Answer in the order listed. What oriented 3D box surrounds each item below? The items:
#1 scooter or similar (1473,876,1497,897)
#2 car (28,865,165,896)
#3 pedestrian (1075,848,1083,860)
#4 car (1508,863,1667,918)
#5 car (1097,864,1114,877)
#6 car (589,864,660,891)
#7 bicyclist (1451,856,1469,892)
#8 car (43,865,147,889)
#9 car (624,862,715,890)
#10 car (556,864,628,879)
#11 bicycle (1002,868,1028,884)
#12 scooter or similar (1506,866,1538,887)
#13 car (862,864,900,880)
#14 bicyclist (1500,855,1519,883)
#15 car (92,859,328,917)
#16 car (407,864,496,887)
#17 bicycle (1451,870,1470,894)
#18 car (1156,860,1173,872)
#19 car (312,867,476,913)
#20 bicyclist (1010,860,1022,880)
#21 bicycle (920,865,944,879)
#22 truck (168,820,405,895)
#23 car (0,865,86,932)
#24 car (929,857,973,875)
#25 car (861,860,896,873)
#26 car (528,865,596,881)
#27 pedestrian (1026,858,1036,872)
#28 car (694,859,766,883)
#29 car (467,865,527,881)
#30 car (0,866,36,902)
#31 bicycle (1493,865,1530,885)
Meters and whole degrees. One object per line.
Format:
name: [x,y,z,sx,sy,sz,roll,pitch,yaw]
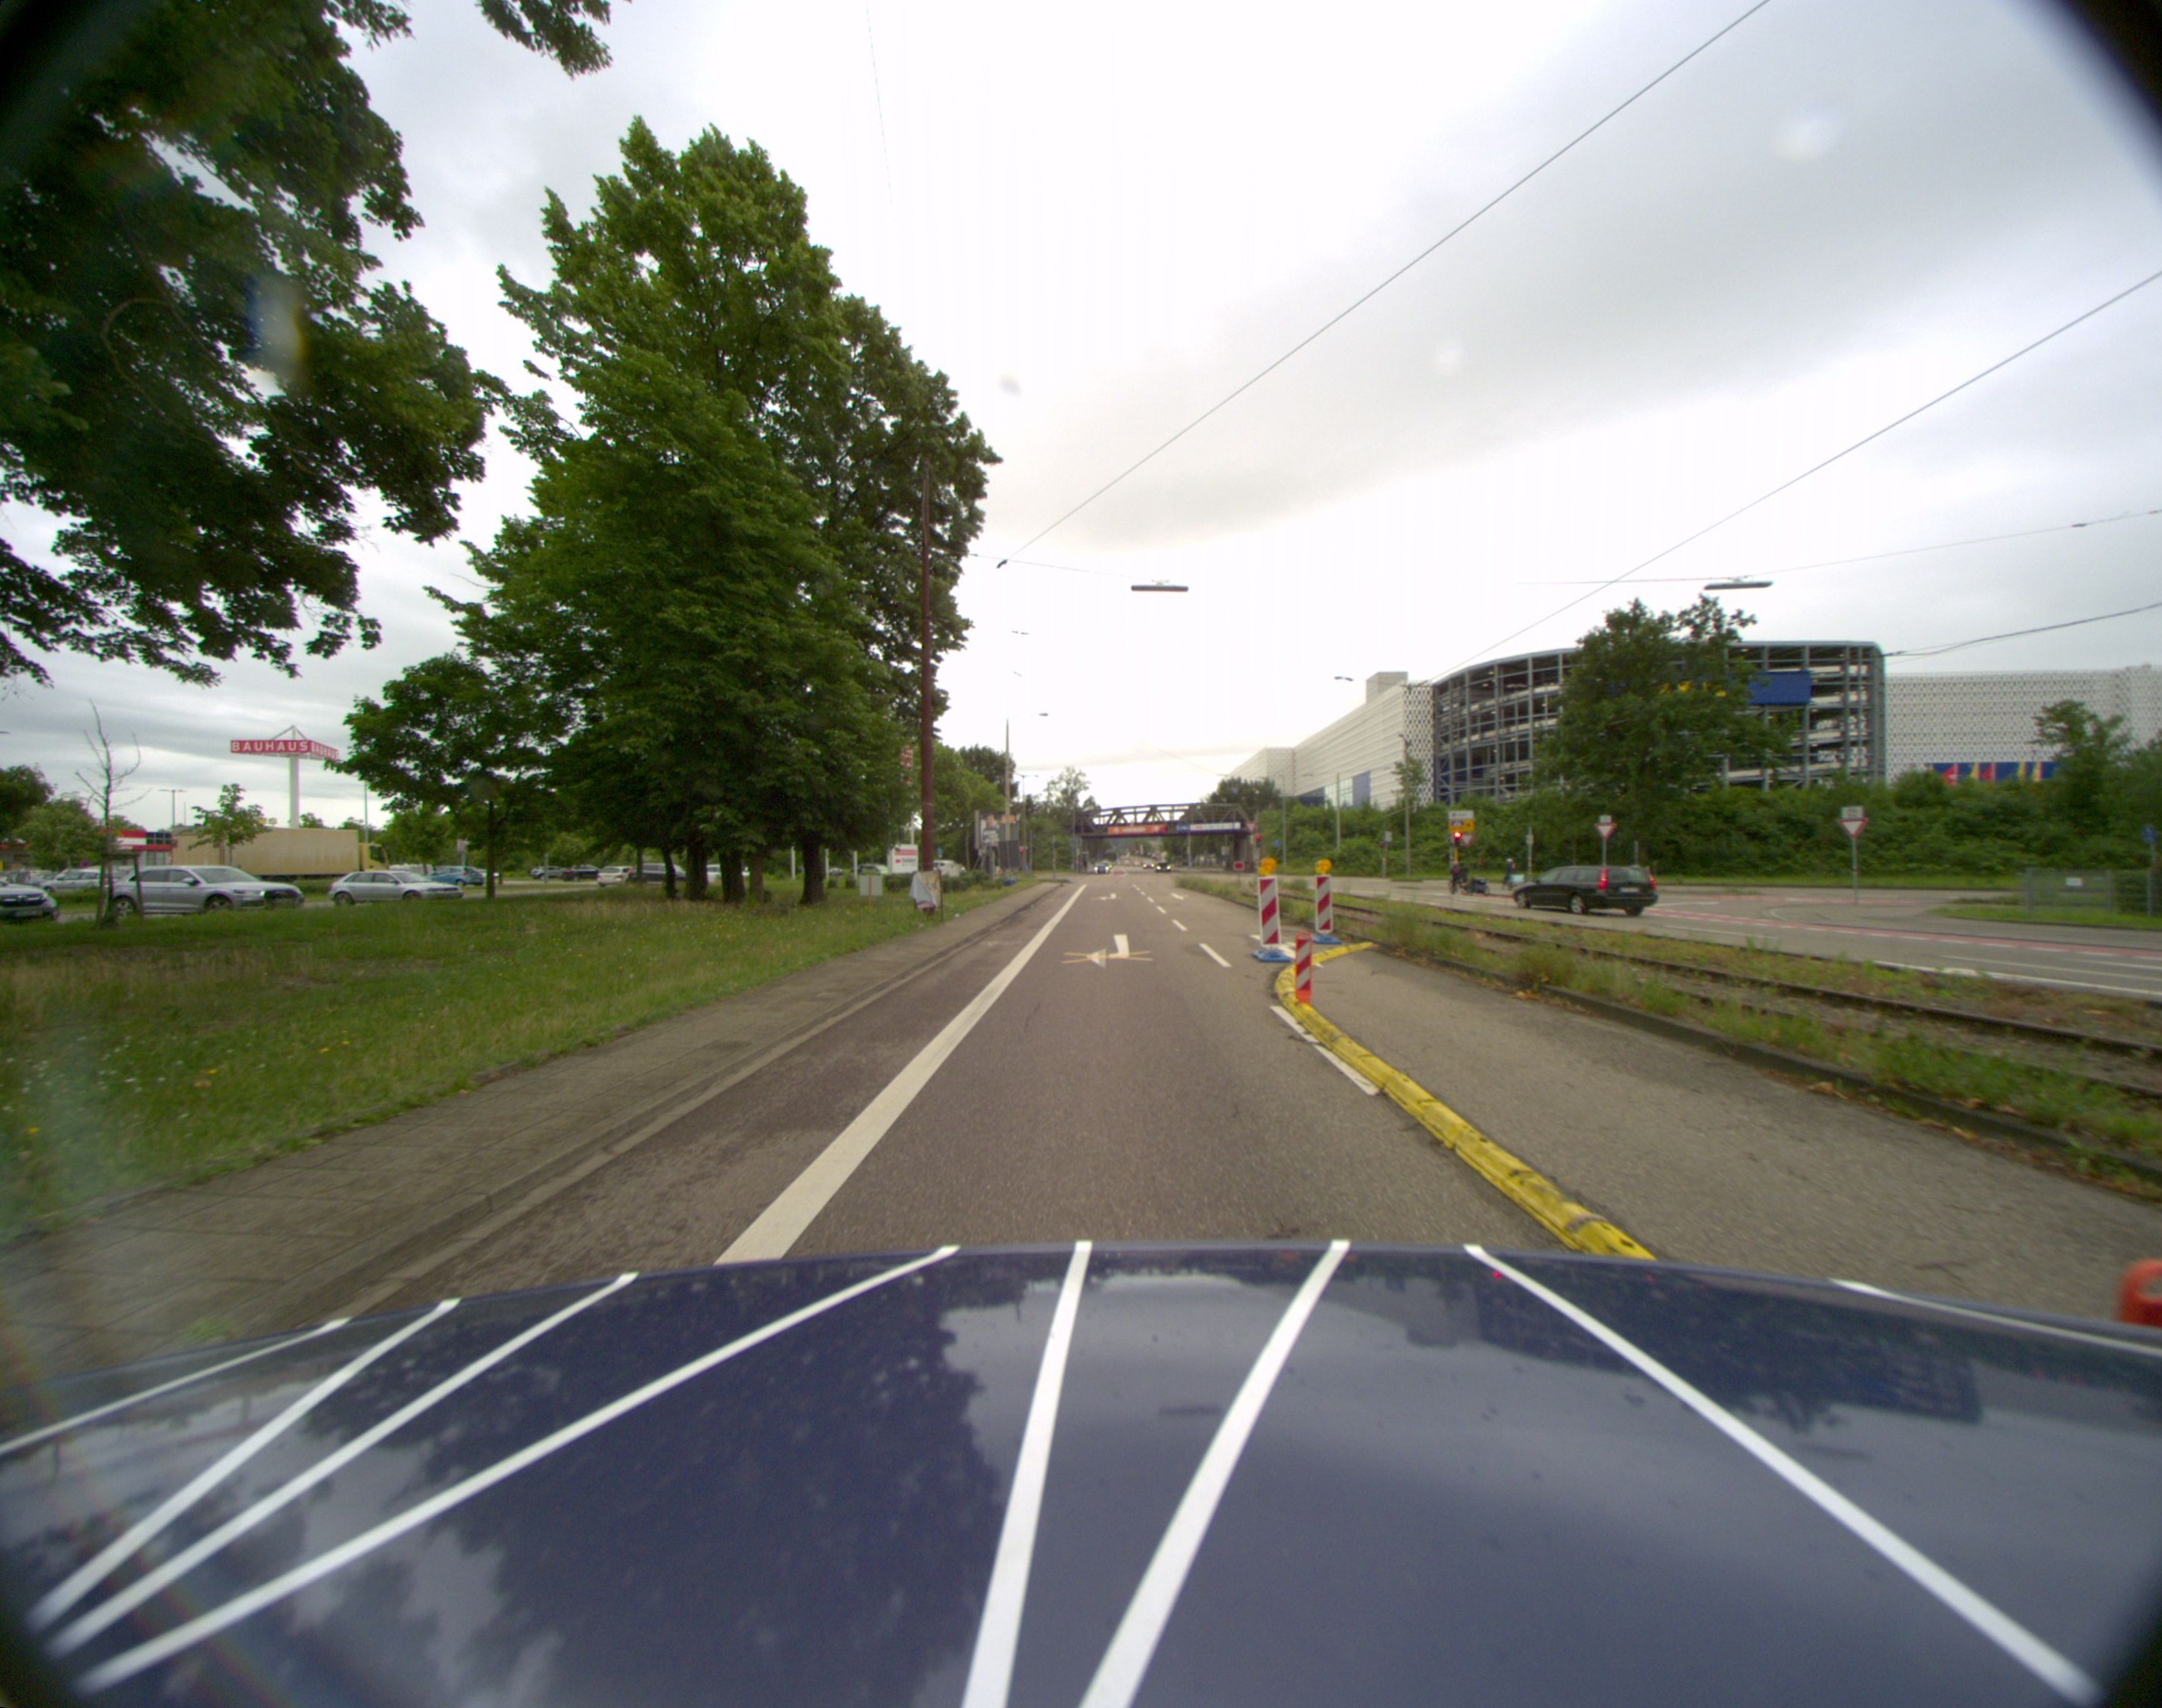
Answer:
scooter or similar: [18.243,1.470,34.344,0.845,0.902,1.200,-2,-1,23]
car: [-54.813,1.446,42.397,4.566,1.667,2.154,0,0,-4]
pedestrian: [-0.287,-0.013,115.952,0.785,1.749,0.876,-1,0,29]
car: [15.178,1.021,23.129,1.824,1.464,4.426,0,0,-1]
car: [3.153,2.115,99.794,1.788,1.637,3.999,0,0,-4]
car: [-32.334,1.631,53.976,1.998,1.660,4.506,-2,0,4]
bicyclist: [18.096,0.968,36.272,0.646,1.673,0.687,-2,0,23]
car: [-71.922,1.672,55.487,4.566,1.667,2.155,0,0,-3]
car: [-26.087,1.383,48.274,4.611,1.488,1.931,-2,0,-2]
car: [-49.466,1.731,76.961,2.149,1.432,5.738,0,0,33]
bicycle: [-5.068,1.678,58.307,1.890,1.142,0.583,0,0,19]
scooter or similar: [23.538,1.198,40.590,0.647,1.056,1.449,-2,-1,-9]
car: [-21.075,1.878,80.017,3.989,1.524,1.789,-2,0,38]
bicyclist: [23.969,0.834,42.491,0.647,1.509,0.626,-2,0,-9]
car: [-26.492,1.006,23.261,4.686,1.488,2.170,-2,0,1]
car: [-43.093,1.477,52.056,4.563,1.498,1.988,0,0,3]
bicycle: [18.117,1.305,36.292,0.646,1.056,2.027,-2,-1,23]
car: [10.904,1.587,99.546,1.836,1.415,4.001,-2,-1,2]
car: [-26.537,1.357,29.481,4.456,1.488,1.931,-2,0,-2]
bicyclist: [-4.985,1.216,58.261,0.758,1.511,0.583,0,0,19]
bicycle: [-11.970,1.433,61.139,1.811,1.111,0.487,0,0,-36]
truck: [-42.863,0.163,41.693,2.946,3.543,9.250,-2,0,2]
car: [-26.393,1.092,17.345,4.543,1.488,1.959,-2,0,-2]
car: [-13.480,1.225,78.525,4.409,1.818,1.884,0,2,35]
car: [-22.883,1.393,85.963,4.054,1.473,1.700,0,0,37]
car: [-57.197,2.049,83.865,2.149,1.667,5.738,0,0,33]
pedestrian: [-5.892,1.346,89.571,0.776,1.630,0.745,-1,0,40]
car: [-25.161,1.232,54.609,4.232,1.488,1.931,-2,0,-1]
car: [-74.064,2.369,96.411,2.149,1.882,5.738,0,0,42]
car: [-54.312,1.461,36.462,4.570,1.667,2.152,0,0,-15]
bicycle: [23.998,1.176,42.415,0.647,1.056,1.999,-2,-1,-9]
